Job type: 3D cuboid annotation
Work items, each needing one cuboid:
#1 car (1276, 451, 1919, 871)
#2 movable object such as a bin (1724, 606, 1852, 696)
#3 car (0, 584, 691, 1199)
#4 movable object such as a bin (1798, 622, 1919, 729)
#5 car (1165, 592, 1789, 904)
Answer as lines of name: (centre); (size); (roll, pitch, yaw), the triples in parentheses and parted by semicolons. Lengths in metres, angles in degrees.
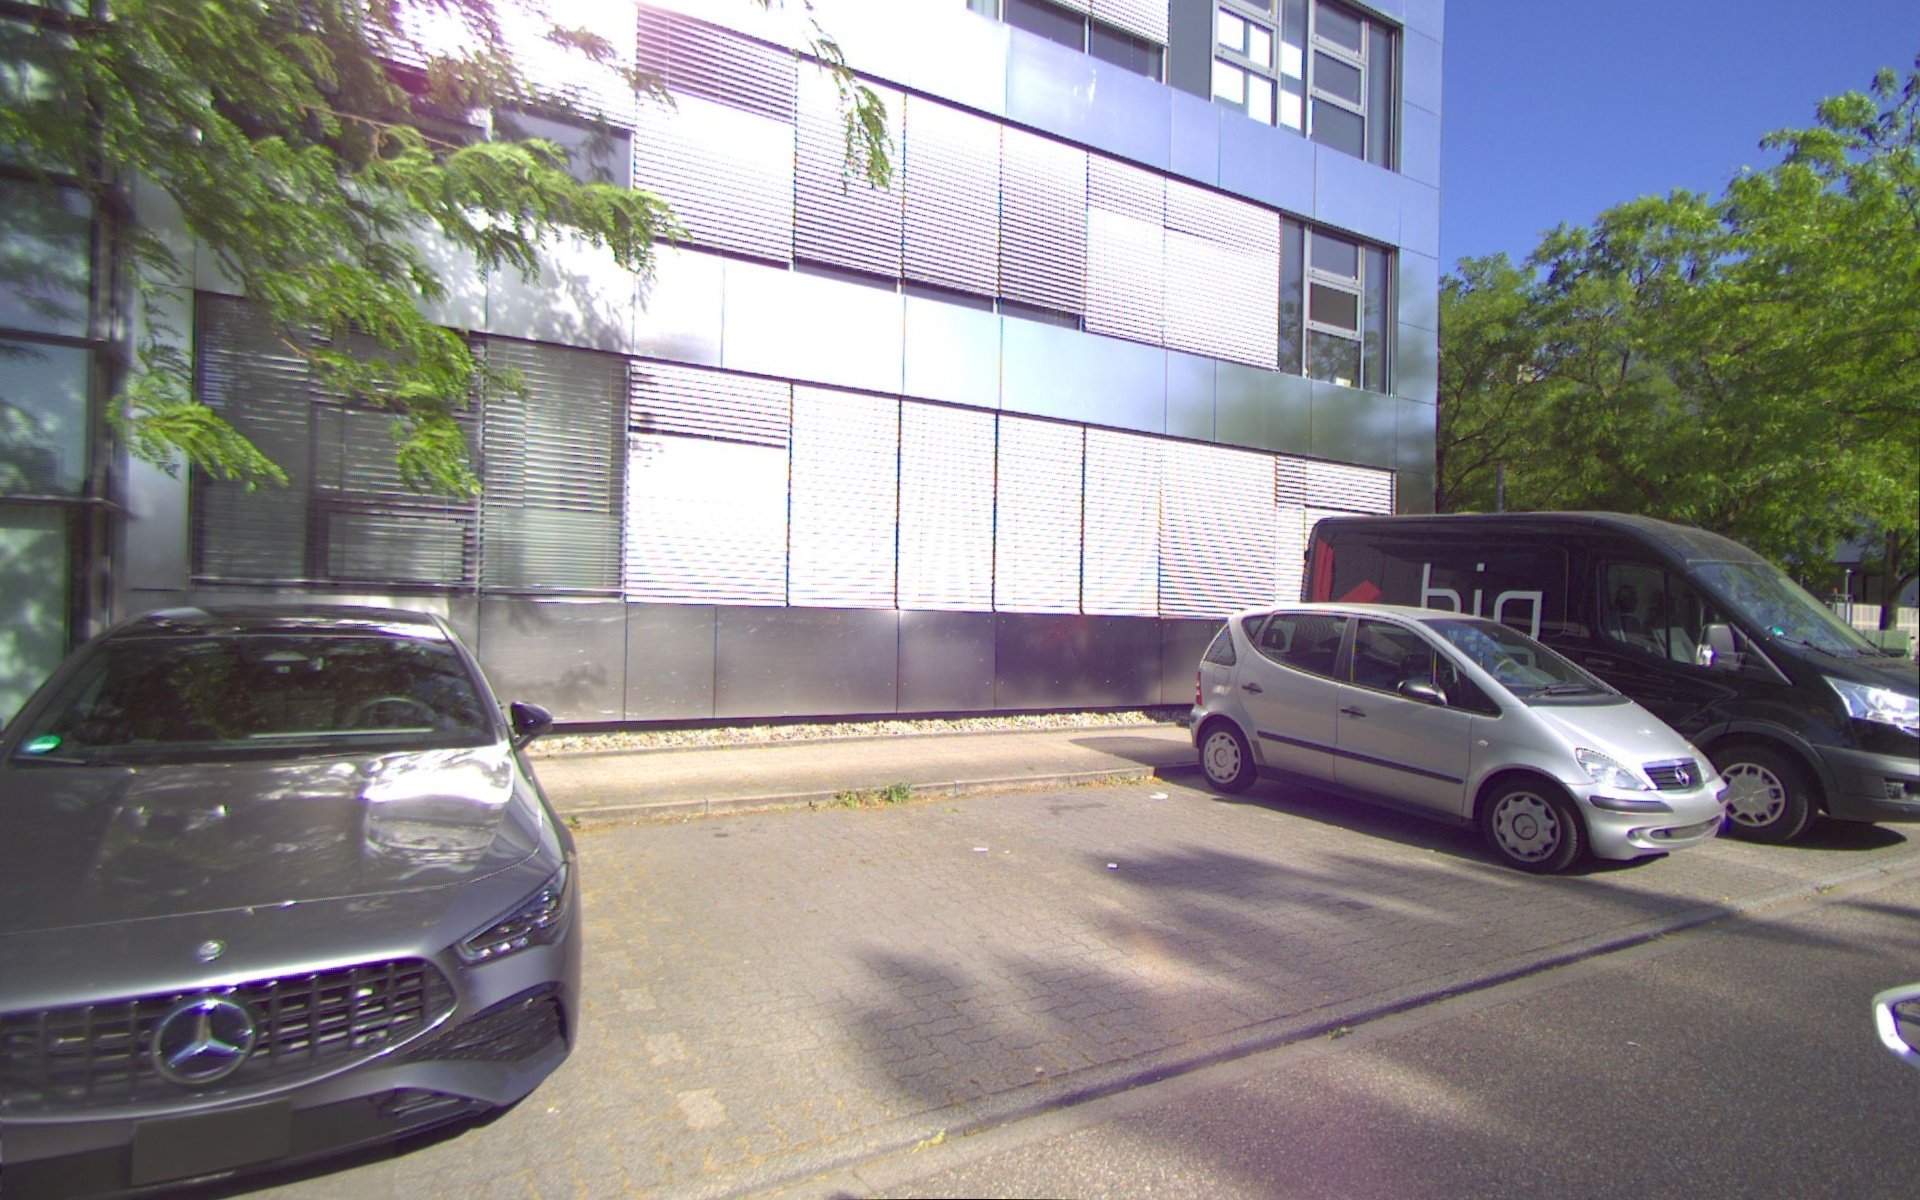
car: (5.790, 0.323, 9.133); (2.205, 2.658, 5.428); (2, 1, -30)
movable object such as a bin: (16.842, 1.018, 20.457); (1.503, 1.618, 1.409); (4, 2, -26)
car: (-2.654, 0.711, 4.164); (1.870, 1.368, 4.513); (2, 1, -30)
movable object such as a bin: (13.176, 1.065, 14.740); (1.279, 1.432, 1.221); (1, -1, 43)
car: (3.610, 0.841, 7.707); (1.871, 1.667, 3.811); (2, 0, -31)
